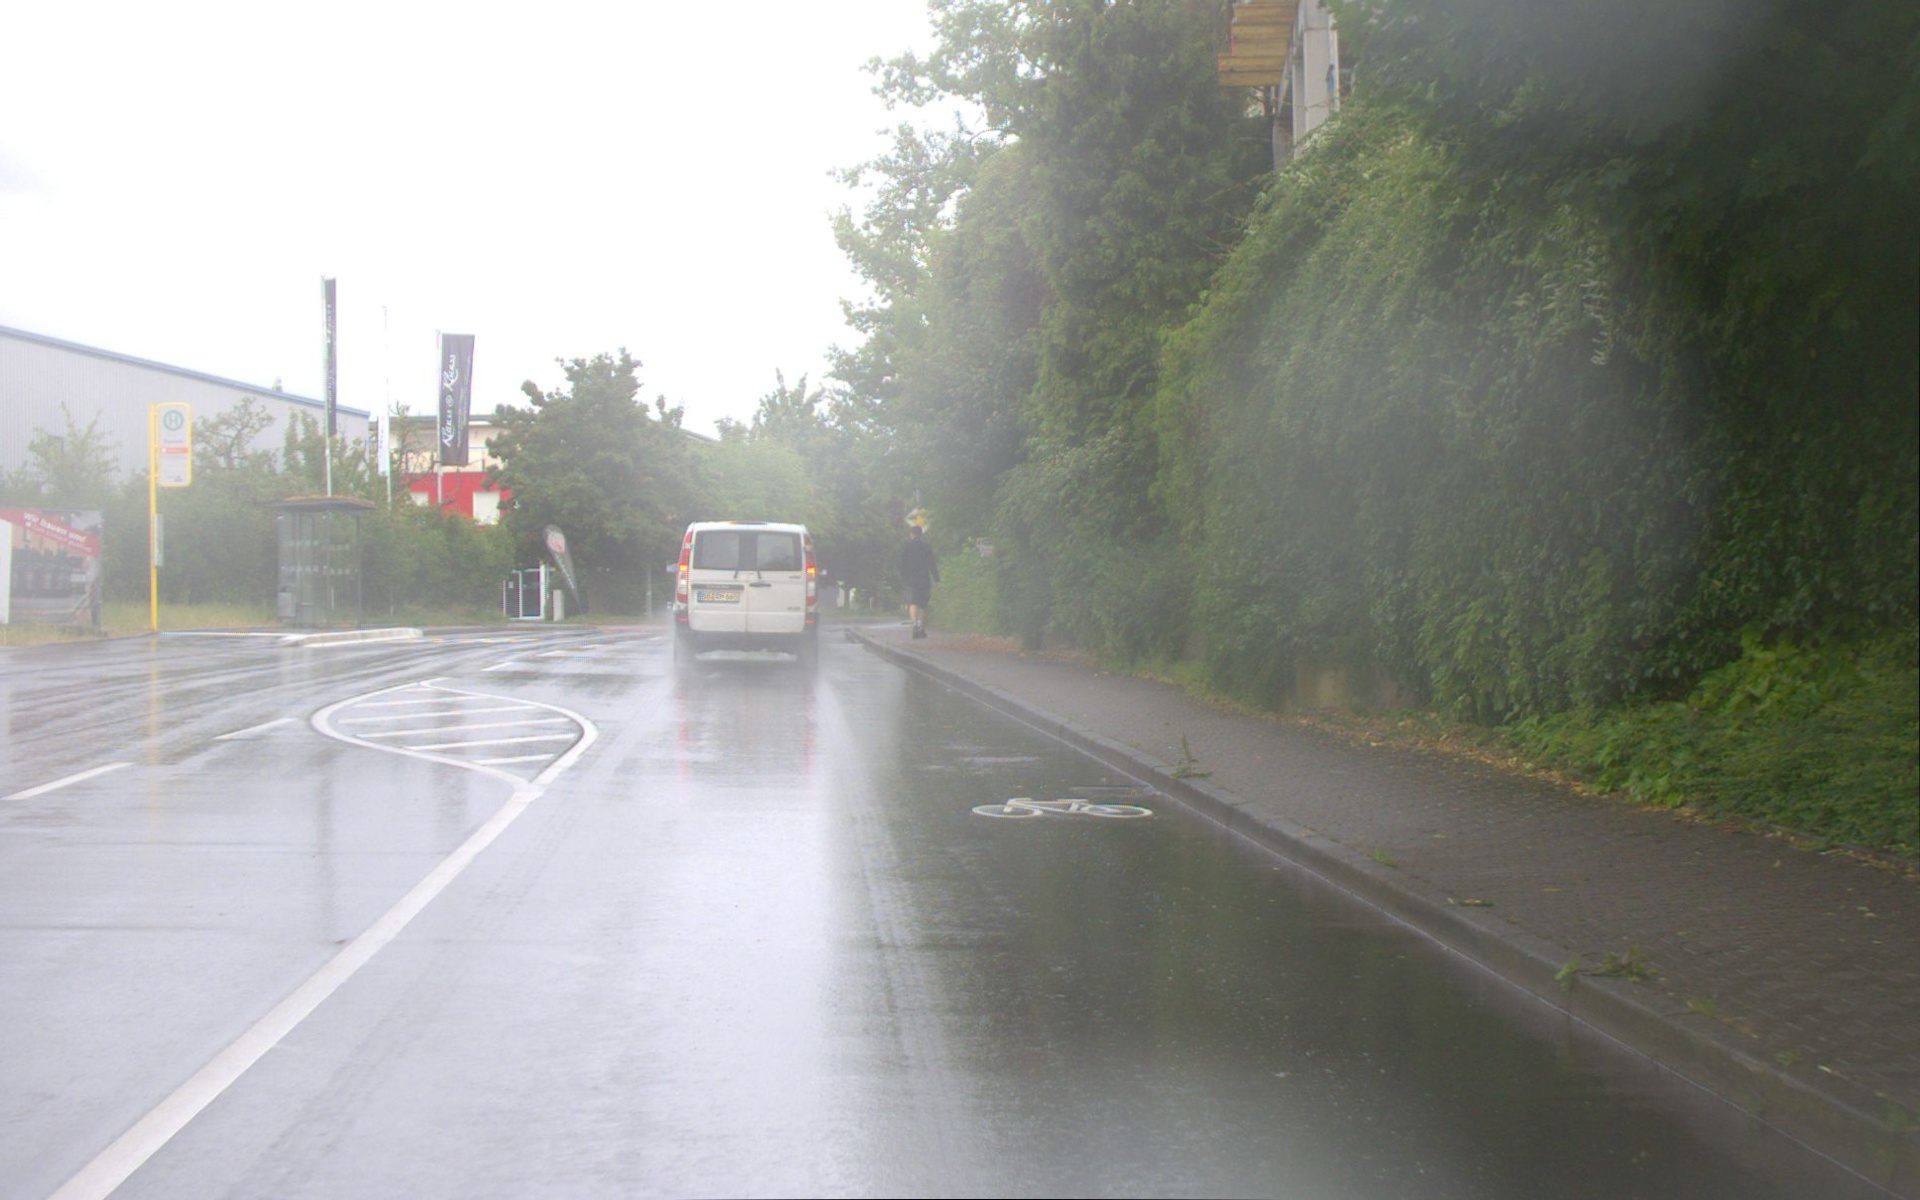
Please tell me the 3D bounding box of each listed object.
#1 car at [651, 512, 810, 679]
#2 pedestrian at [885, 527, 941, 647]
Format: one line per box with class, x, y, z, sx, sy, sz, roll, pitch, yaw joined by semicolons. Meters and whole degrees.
car;-3.016;-0.089;45.975;1.898;2.011;5.373;-3;1;-3
pedestrian;-0.771;-0.208;56.383;0.776;1.900;0.728;-3;-1;-4
